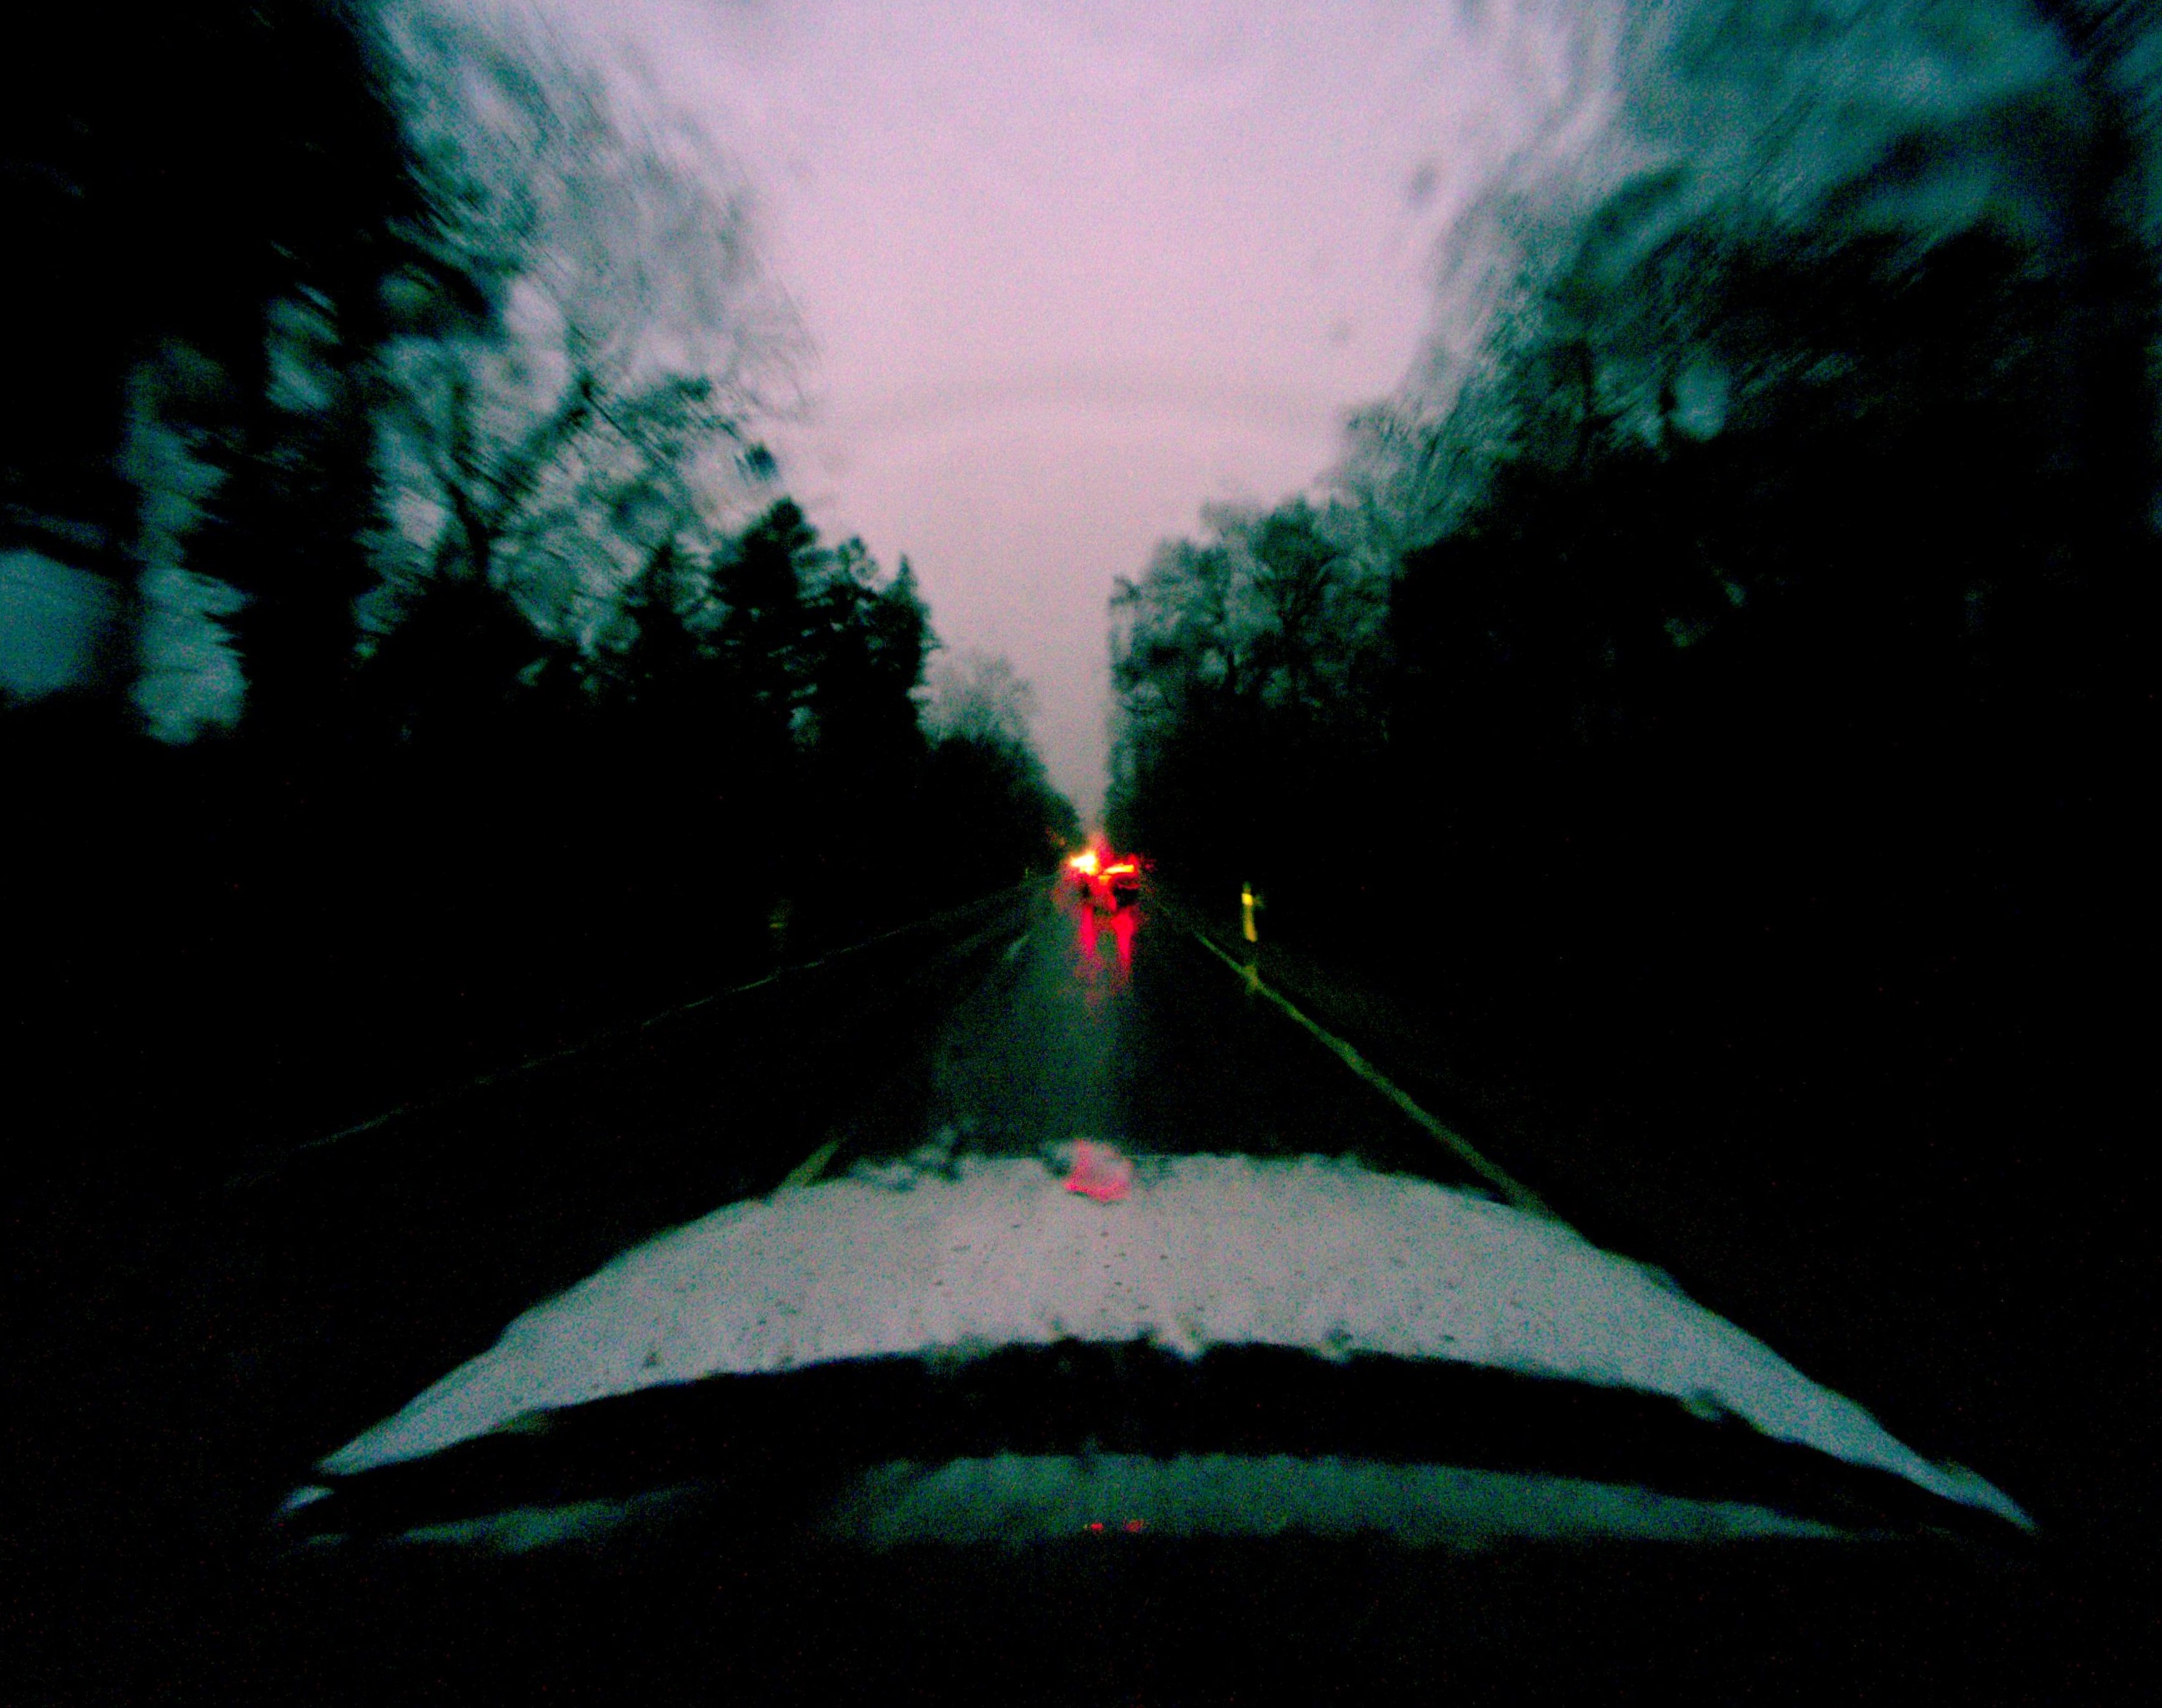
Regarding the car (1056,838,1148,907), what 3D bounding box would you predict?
[{"bbox_3d":[0.834,0.665,31.739,3.171,2.386,6.638,0,-1,2],"label":"car"}]
